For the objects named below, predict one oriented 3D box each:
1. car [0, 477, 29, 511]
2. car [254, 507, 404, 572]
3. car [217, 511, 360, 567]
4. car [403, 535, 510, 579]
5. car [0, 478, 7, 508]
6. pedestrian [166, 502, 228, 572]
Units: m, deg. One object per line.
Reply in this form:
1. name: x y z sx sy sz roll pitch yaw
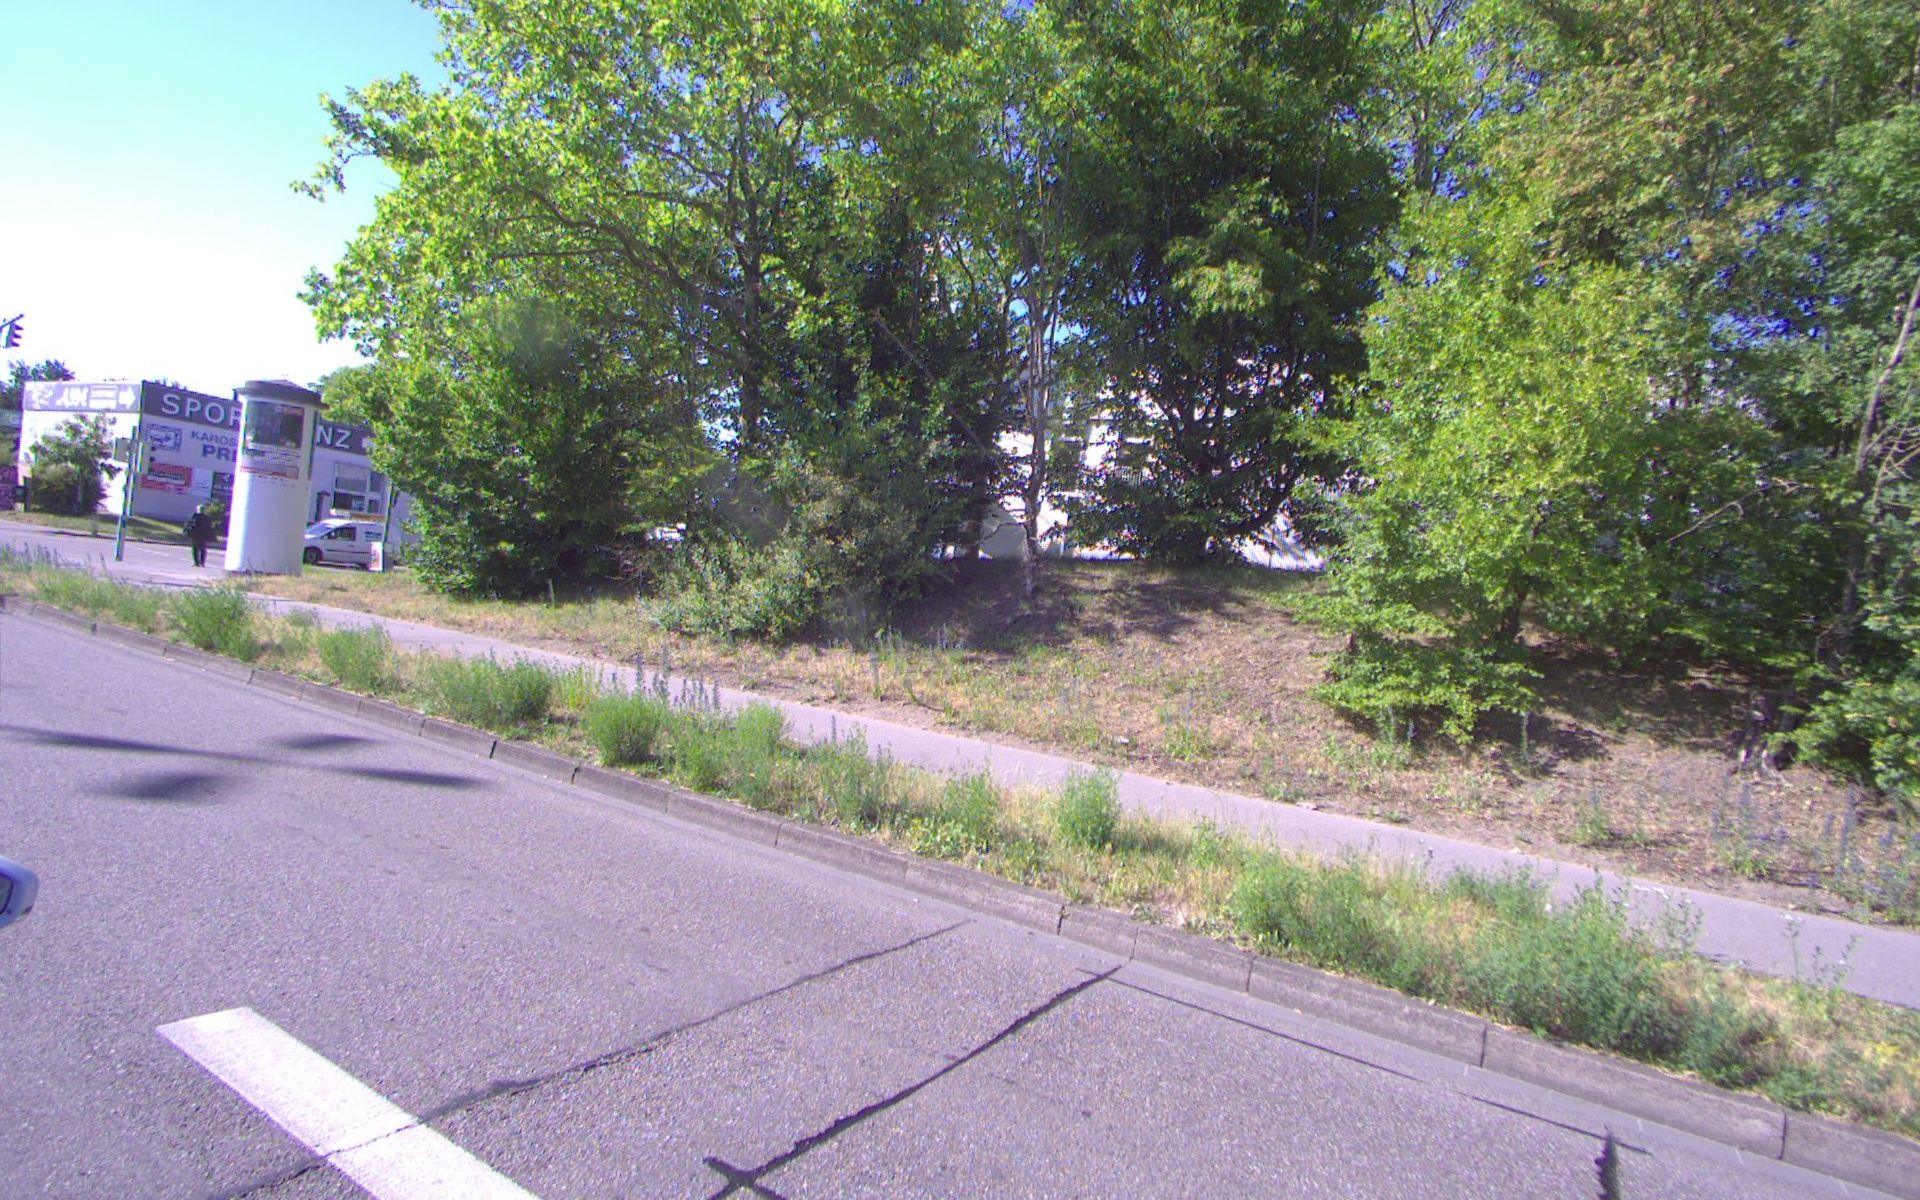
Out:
1. car: -46.892 -5.226 47.111 1.828 1.472 4.490 7 1 33
2. car: -23.850 -2.247 38.187 1.735 1.824 4.387 9 1 30
3. car: -26.625 -2.379 40.028 1.735 1.568 4.292 9 1 30
4. car: -23.040 -1.946 46.191 1.752 1.509 4.046 7 1 30
5. car: -49.243 -5.493 48.481 1.828 1.472 4.490 7 1 33
6. pedestrian: -21.240 -1.751 28.020 0.923 1.755 0.927 6 -1 31
